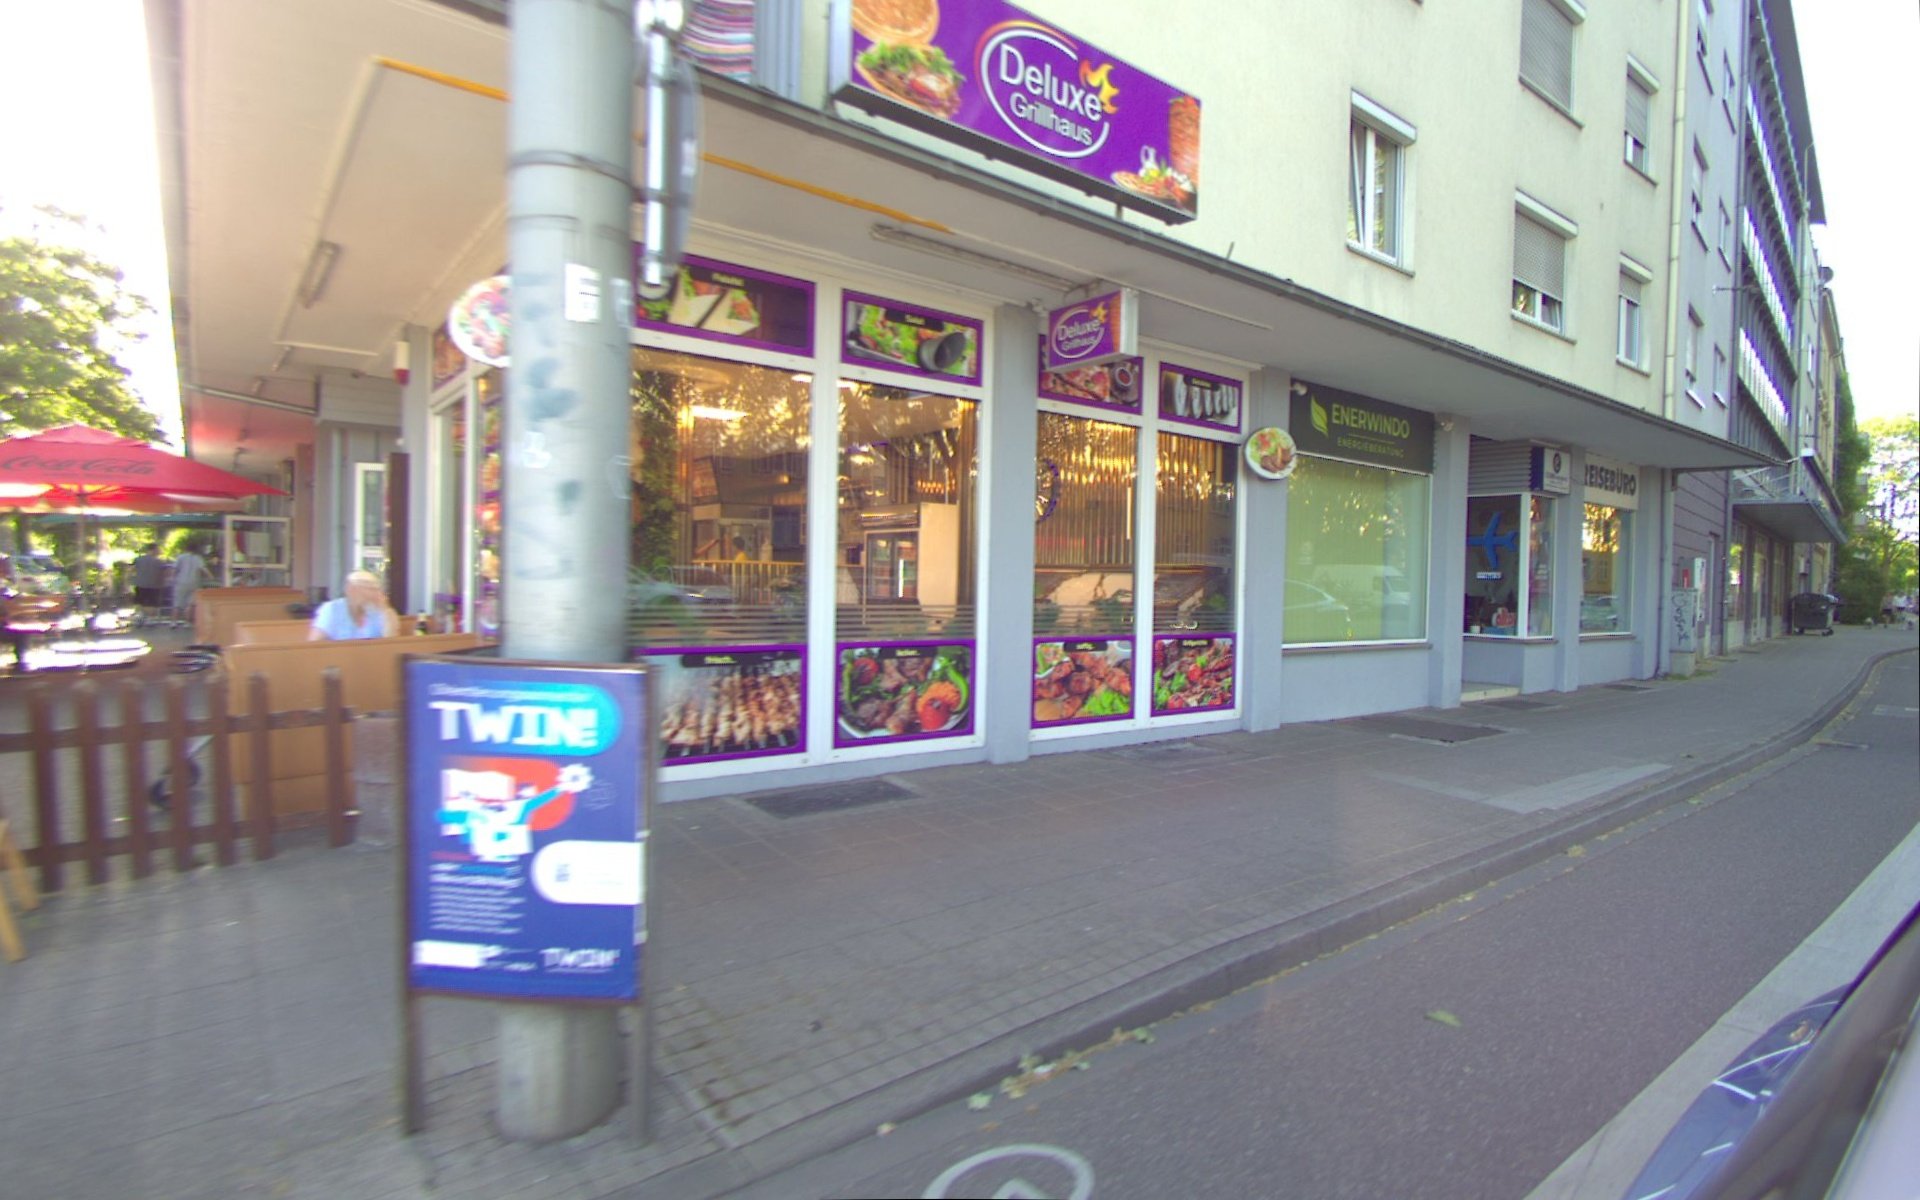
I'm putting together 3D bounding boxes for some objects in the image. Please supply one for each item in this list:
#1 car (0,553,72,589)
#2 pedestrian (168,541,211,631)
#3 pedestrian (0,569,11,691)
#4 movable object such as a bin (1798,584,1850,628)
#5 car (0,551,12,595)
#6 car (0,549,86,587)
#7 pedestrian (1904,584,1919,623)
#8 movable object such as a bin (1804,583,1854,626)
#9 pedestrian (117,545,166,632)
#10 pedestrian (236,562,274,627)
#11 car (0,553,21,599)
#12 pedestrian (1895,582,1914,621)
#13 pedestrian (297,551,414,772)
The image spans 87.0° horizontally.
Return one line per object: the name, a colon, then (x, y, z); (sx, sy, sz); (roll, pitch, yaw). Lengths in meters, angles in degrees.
car: (-39.746, -1.223, 42.366); (3.804, 1.498, 1.714); (0, 2, -41)
pedestrian: (-15.970, -0.295, 20.991); (0.661, 1.834, 0.539); (0, 1, -33)
pedestrian: (-10.206, 0.299, 10.357); (0.648, 1.233, 0.740); (0, 1, -39)
movable object such as a bin: (29.386, 0.187, 34.430); (1.349, 1.427, 1.202); (0, 2, -44)
car: (-34.543, -0.955, 34.037); (3.804, 1.498, 1.714); (0, 2, -41)
car: (-41.273, -1.418, 44.852); (3.804, 1.609, 1.714); (0, 2, -41)
pedestrian: (41.119, 0.147, 43.625); (0.620, 1.693, 0.540); (0, 1, -44)
movable object such as a bin: (30.762, 0.146, 35.836); (1.349, 1.427, 1.202); (0, 2, -44)
pedestrian: (-16.608, -0.244, 20.551); (0.709, 1.730, 0.539); (0, 1, -33)
pedestrian: (-15.250, -0.127, 21.897); (0.559, 1.377, 0.675); (1, 1, -26)
car: (-32.730, -0.800, 32.403); (3.804, 1.498, 1.714); (0, 2, -41)
pedestrian: (42.565, 0.062, 45.612); (0.620, 1.743, 0.540); (0, 1, -44)
pedestrian: (-3.944, 0.369, 6.596); (0.596, 1.358, 0.494); (0, 1, -37)
